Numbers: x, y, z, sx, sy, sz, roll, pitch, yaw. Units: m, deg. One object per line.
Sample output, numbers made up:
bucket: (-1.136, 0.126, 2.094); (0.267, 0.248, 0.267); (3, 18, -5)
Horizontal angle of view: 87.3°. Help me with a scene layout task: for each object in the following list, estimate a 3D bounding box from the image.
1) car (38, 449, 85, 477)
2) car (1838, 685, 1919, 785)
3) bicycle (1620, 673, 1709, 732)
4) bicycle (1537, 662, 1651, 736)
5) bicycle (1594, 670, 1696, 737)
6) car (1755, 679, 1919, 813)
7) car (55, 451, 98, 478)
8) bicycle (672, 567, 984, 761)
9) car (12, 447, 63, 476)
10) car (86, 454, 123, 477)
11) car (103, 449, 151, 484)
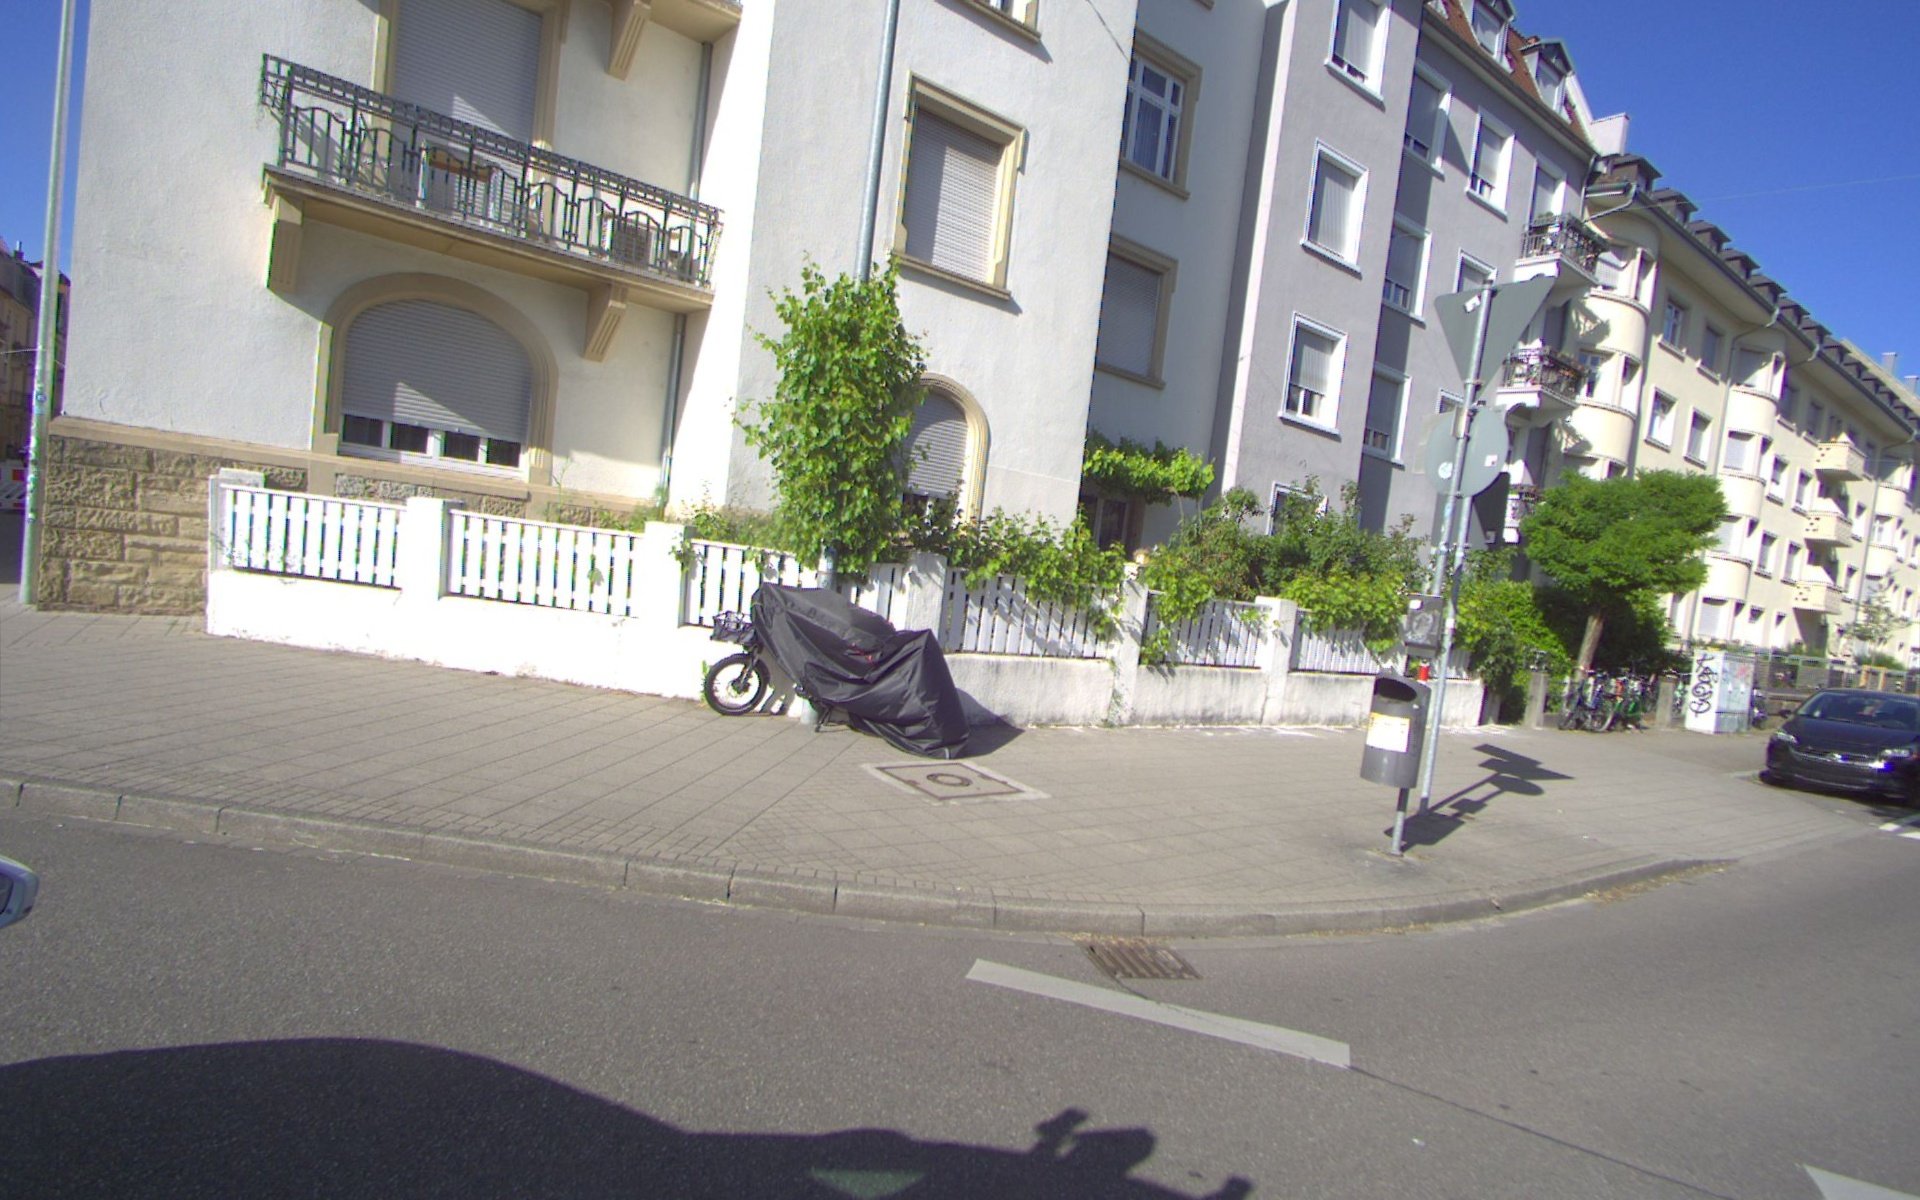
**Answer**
car: (-66.343, -10.099, 74.323); (1.993, 1.601, 4.442); (8, 0, -36)
car: (16.966, 2.387, 17.542); (3.822, 1.464, 1.733); (5, 3, -40)
bicycle: (14.598, 2.137, 20.824); (2.234, 1.073, 0.676); (5, 3, -35)
bicycle: (10.630, 1.674, 16.839); (2.234, 1.073, 0.676); (5, 3, -35)
bicycle: (12.531, 1.903, 18.382); (2.234, 1.073, 0.676); (5, 3, -35)
car: (13.061, 2.013, 14.413); (3.923, 1.464, 1.734); (5, 1, -40)
car: (-70.469, -10.803, 80.328); (1.993, 1.638, 4.442); (8, 0, -36)
bicycle: (-1.025, 0.477, 8.063); (2.243, 1.172, 0.766); (8, 2, 7)
car: (-60.405, -9.041, 65.936); (1.669, 1.444, 4.234); (8, 0, -33)
car: (-77.902, -12.202, 91.658); (1.993, 1.638, 4.442); (8, 0, -36)
car: (-57.366, -9.155, 69.357); (1.992, 1.937, 4.443); (8, 0, -35)
